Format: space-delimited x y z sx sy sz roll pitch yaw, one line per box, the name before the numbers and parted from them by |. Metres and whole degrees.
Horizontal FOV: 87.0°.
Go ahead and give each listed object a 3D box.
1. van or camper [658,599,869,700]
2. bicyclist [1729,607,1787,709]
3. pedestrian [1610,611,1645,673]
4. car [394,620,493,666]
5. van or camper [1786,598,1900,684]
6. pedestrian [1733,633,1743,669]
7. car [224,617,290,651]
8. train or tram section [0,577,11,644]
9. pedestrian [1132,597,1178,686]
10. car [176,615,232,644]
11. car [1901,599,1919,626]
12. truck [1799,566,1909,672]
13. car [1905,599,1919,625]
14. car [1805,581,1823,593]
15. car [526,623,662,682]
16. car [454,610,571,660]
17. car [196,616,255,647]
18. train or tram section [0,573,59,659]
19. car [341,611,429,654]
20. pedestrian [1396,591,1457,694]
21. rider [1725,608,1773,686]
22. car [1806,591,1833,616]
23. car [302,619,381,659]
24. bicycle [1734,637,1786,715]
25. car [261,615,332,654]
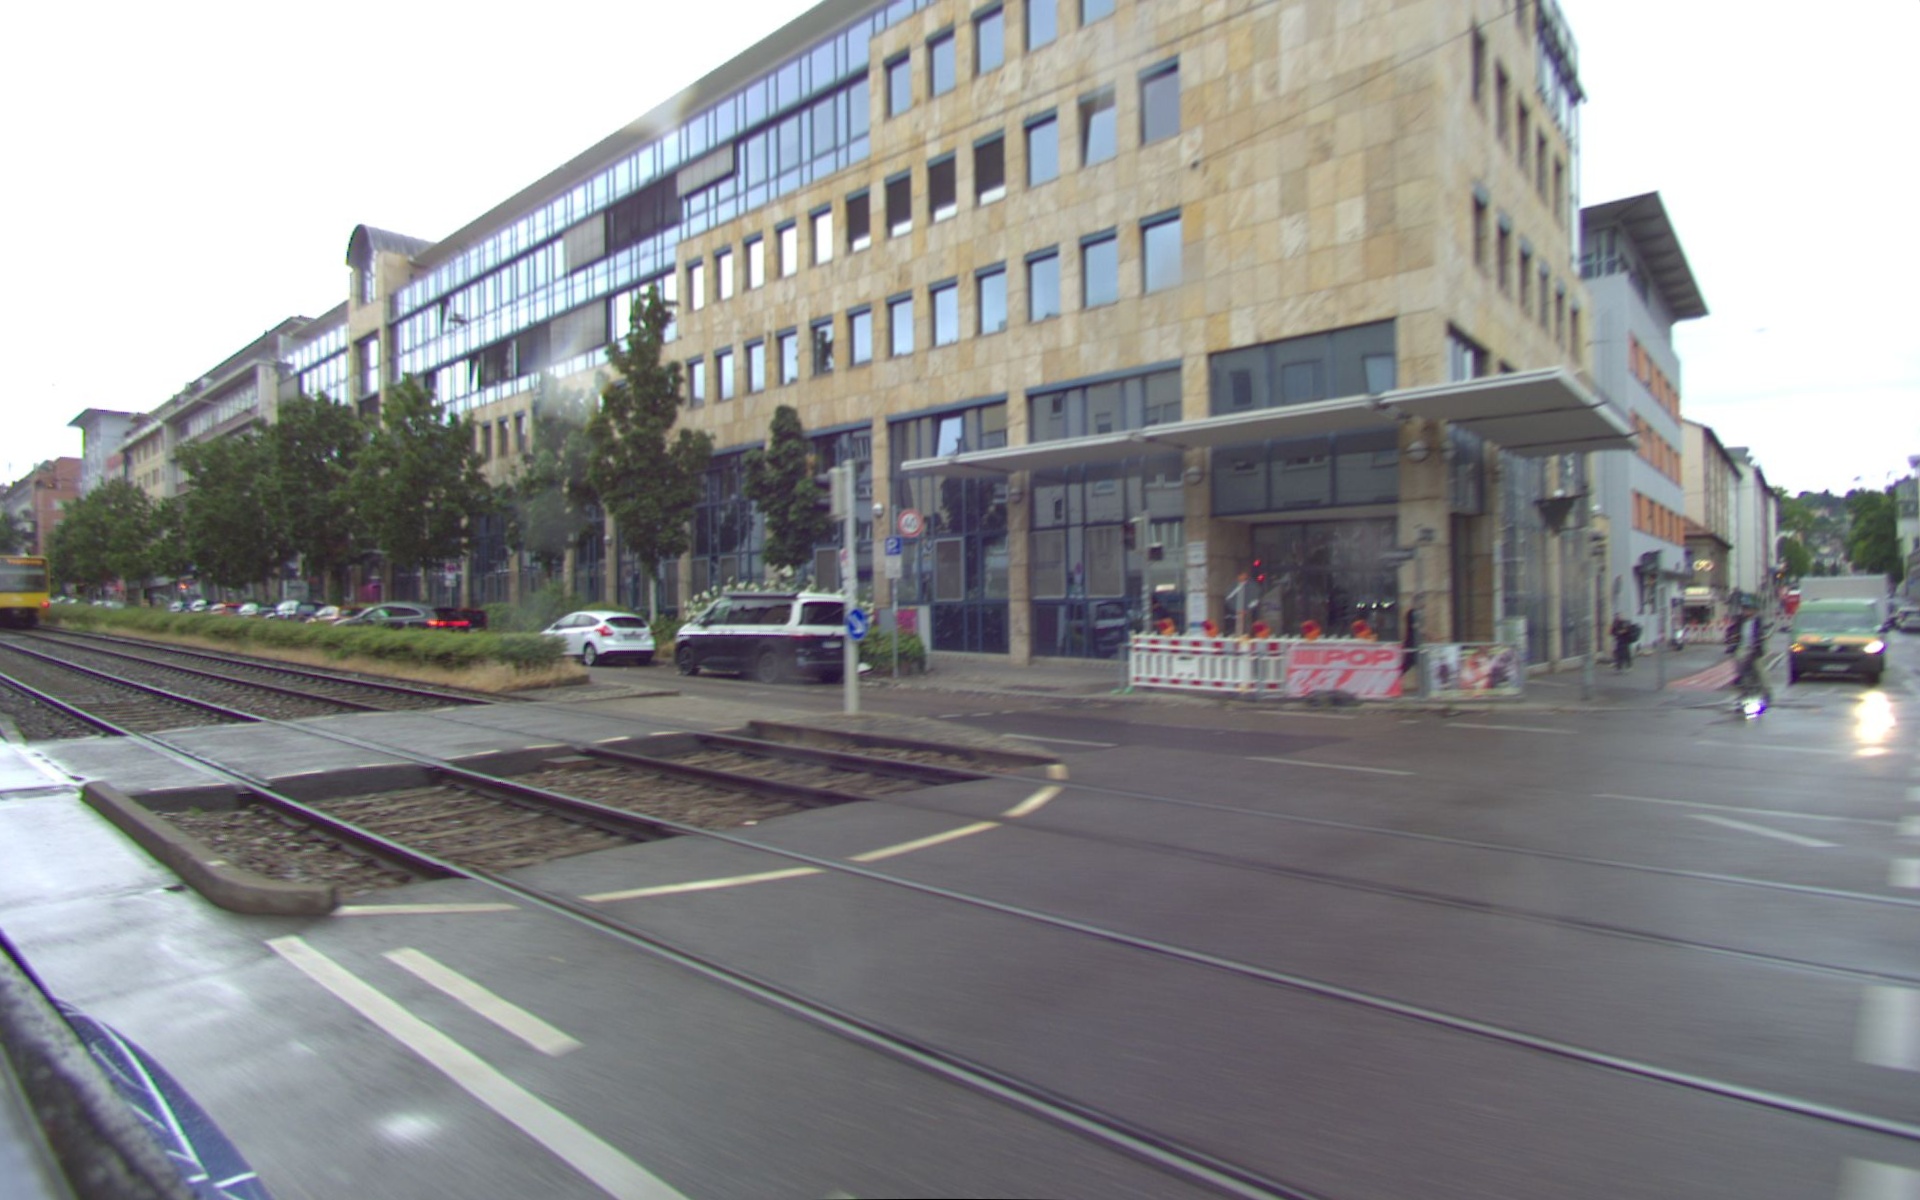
van or camper | -4.574 1.006 23.050 5.196 2.012 1.995 1 0 42
bicyclist | 14.673 1.050 18.608 0.783 1.818 0.701 -1 -1 41
pedestrian | 18.230 1.134 27.638 0.703 1.649 0.573 -1 -1 42
car | -17.972 1.455 35.145 3.997 1.497 1.672 -1 -1 40
van or camper | 23.465 1.005 27.004 2.095 2.078 5.030 -1 -1 40
pedestrian | 36.564 2.401 47.552 0.308 1.657 0.306 -2 -2 40
car | -34.725 1.670 49.938 4.620 1.552 1.631 0 -1 42
train or tram section | -65.857 0.550 66.855 18.405 4.081 2.871 1 -1 42
pedestrian | 4.121 0.856 21.375 0.679 1.828 0.693 -1 -1 44
car | -42.651 1.643 57.036 4.620 1.552 1.631 0 -1 42
car | 64.654 0.838 68.049 1.780 1.747 4.110 -1 0 40
truck | 29.761 0.600 33.908 2.459 3.188 7.077 -1 -1 40
car | 69.350 0.837 72.743 1.780 1.884 3.970 -1 -1 40
car | 146.056 -2.218 173.036 2.001 2.029 3.942 1 -1 44
car | -10.202 1.402 28.060 4.252 1.497 1.672 -1 -1 40
car | -14.277 1.081 32.171 4.291 1.497 1.672 -1 -1 40
car | -39.079 1.646 53.813 4.620 1.552 1.631 0 -1 42
train or tram section | -51.949 0.698 54.499 18.761 4.081 2.871 1 -1 42
car | -21.744 1.200 38.213 4.191 1.509 1.631 0 -1 42
pedestrian | 8.307 0.748 18.026 0.667 1.794 0.705 0 -1 -14
rider | 17.522 1.021 22.484 0.783 1.688 0.701 -1 -1 41
car | 72.153 0.322 84.967 1.655 2.029 3.437 -2 -1 41
car | -25.623 1.570 41.882 4.292 1.509 1.631 0 -1 42
bicycle | 14.687 1.364 18.564 0.659 1.321 1.746 -1 -1 40
car | -29.889 1.523 45.526 4.292 1.613 1.631 0 -1 42
